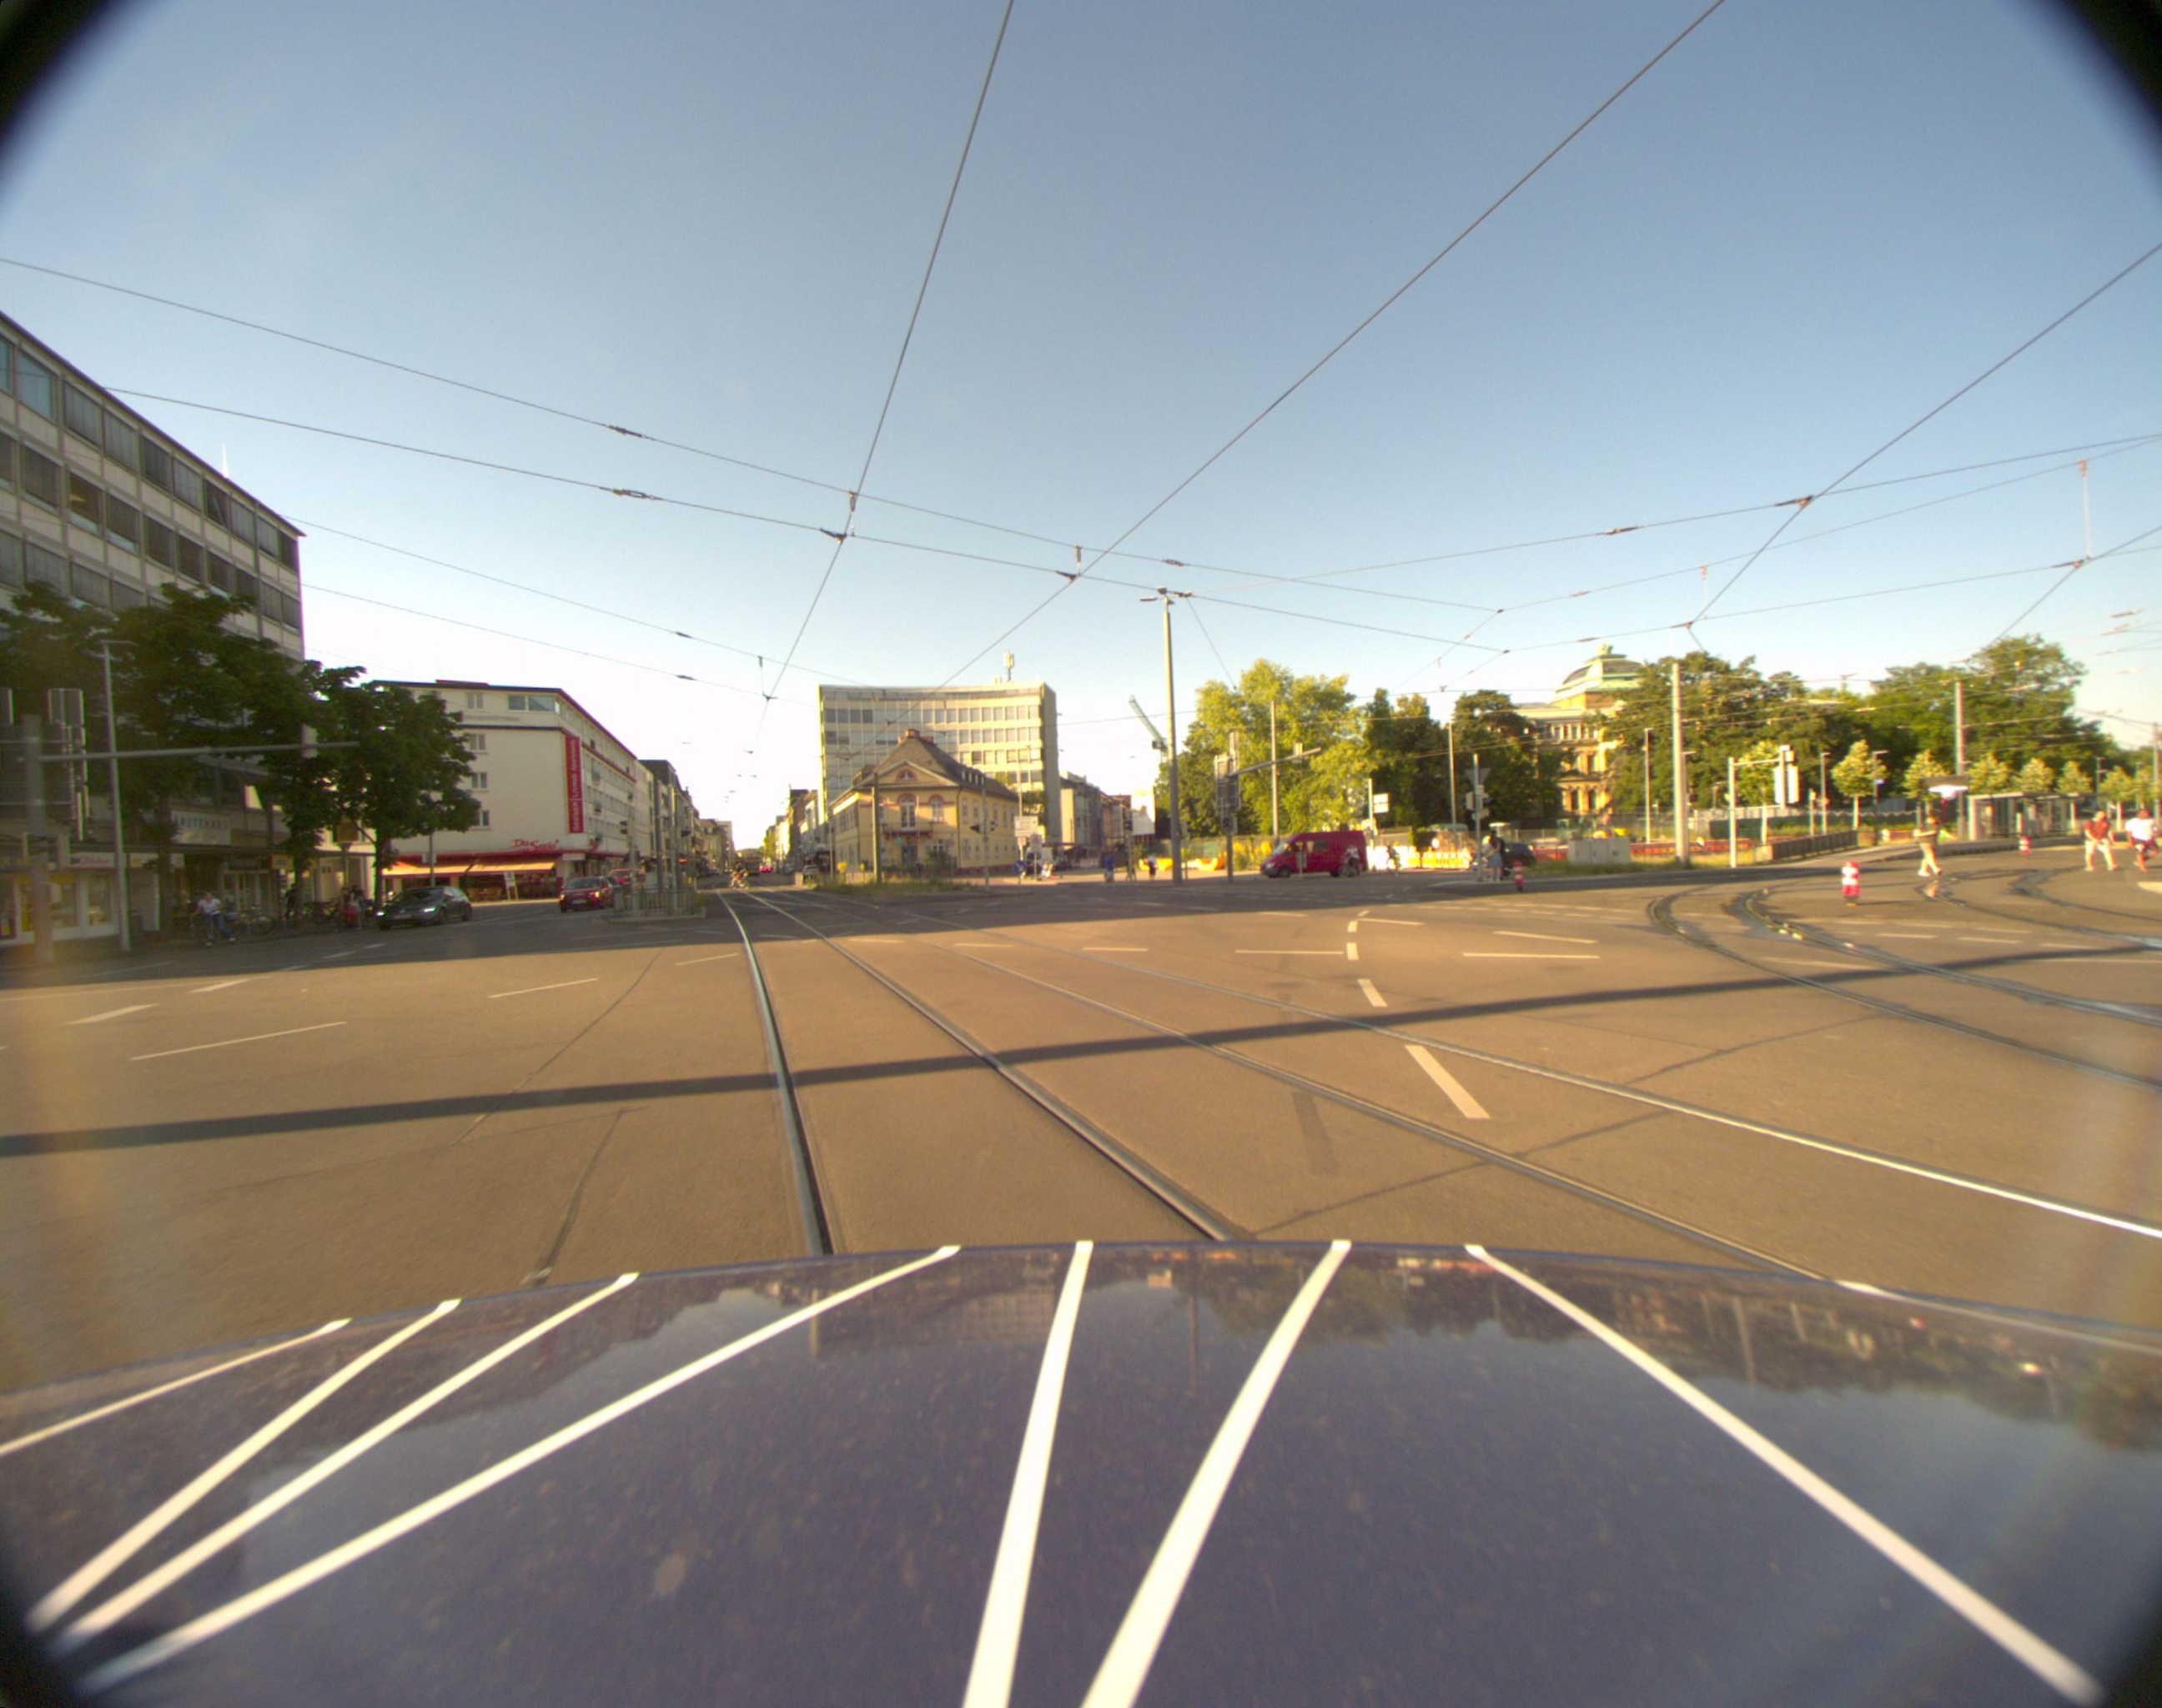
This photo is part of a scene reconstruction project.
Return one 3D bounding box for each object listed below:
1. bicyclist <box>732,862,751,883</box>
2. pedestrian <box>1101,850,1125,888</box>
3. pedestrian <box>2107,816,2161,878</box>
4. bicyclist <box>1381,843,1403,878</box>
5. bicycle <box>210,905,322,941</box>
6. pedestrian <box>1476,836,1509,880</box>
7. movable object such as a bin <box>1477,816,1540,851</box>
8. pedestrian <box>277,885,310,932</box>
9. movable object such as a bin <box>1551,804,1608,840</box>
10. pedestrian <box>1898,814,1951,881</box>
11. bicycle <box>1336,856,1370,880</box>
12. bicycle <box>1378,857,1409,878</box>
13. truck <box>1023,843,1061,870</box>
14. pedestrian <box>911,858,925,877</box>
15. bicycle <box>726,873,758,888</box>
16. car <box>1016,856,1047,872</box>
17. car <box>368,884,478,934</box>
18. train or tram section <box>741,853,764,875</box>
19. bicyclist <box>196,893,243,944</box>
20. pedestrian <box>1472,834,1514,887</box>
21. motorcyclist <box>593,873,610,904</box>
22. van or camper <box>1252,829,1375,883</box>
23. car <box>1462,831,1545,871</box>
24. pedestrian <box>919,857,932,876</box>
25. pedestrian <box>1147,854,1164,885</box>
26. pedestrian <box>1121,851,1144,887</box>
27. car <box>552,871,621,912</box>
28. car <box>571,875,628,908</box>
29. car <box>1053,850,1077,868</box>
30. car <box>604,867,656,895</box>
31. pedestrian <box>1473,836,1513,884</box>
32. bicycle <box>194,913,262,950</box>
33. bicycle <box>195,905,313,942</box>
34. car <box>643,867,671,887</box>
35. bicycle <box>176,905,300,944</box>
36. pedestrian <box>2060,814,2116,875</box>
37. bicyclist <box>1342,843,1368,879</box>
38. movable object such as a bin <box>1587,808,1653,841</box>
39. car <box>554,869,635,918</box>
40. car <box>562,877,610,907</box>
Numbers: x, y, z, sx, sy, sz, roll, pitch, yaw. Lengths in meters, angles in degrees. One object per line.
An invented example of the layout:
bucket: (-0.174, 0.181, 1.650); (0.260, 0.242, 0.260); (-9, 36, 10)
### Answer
bicyclist: (-24.298, 1.324, 54.366); (0.896, 1.448, 0.725); (-3, 0, 10)
pedestrian: (1.581, 0.729, 37.355); (0.696, 1.782, 1.044); (-4, 0, 24)
pedestrian: (27.231, -0.161, 19.511); (0.786, 1.539, 0.621); (-2, -3, 20)
bicyclist: (15.744, 0.318, 38.460); (0.793, 1.735, 0.614); (-3, 0, -33)
bicycle: (-29.147, 2.437, 27.250); (2.645, 1.136, 0.750); (0, -2, -34)
pedestrian: (15.817, 0.172, 29.217); (0.620, 1.630, 0.786); (-3, -1, -30)
movable object such as a bin: (36.582, -1.784, 65.007); (5.019, 2.667, 1.997); (-3, -1, -24)
pedestrian: (-35.339, 2.434, 34.102); (0.715, 2.001, 0.627); (-3, 0, -12)
movable object such as a bin: (50.269, -3.206, 76.586); (5.380, 3.309, 1.997); (-3, -1, -24)
pedestrian: (24.197, -0.171, 21.805); (0.620, 1.853, 0.786); (-3, 0, -25)
bicycle: (13.461, 0.697, 37.597); (1.811, 1.094, 0.542); (-3, -1, -33)
bicycle: (15.870, 0.692, 38.566); (1.696, 0.995, 0.542); (-3, -1, -33)
truck: (-3.972, 0.287, 78.155); (2.297, 2.533, 5.645); (-4, -1, 13)
pedestrian: (-14.320, 1.214, 66.806); (0.684, 1.632, 0.819); (-4, 0, 33)
bicycle: (-24.327, 1.909, 54.480); (1.988, 0.942, 0.725); (-4, -1, 10)
car: (-4.693, 0.908, 72.491); (1.711, 1.356, 4.199); (-4, -1, 14)
car: (-24.109, 1.955, 28.008); (1.846, 1.608, 4.074); (-3, -1, -23)
train or tram section: (-63.319, 1.957, 146.342); (3.719, 3.811, 13.334); (-3, 1, -24)
bicyclist: (-25.250, 1.887, 22.292); (0.672, 1.415, 0.680); (-3, 0, -29)
pedestrian: (14.757, 0.248, 27.226); (0.900, 1.790, 0.787); (-6, 0, -7)
motorcyclist: (-23.450, 1.691, 37.157); (0.535, 1.499, 0.461); (-3, 0, -23)
van or camper: (12.510, 0.117, 40.971); (5.913, 2.514, 1.999); (-3, -1, -7)
car: (24.016, -0.146, 43.197); (4.004, 2.001, 1.997); (-3, -1, -24)
pedestrian: (-13.819, 1.080, 67.546); (0.684, 1.632, 0.819); (-4, 0, 34)
pedestrian: (4.375, 0.909, 44.747); (0.760, 1.751, 1.008); (-3, 0, -1)
pedestrian: (2.525, 0.724, 37.281); (0.696, 1.672, 1.044); (-4, 0, 24)
car: (-21.743, 1.642, 33.574); (1.846, 1.608, 3.993); (-3, -1, -23)
car: (-25.967, 2.026, 40.921); (1.847, 1.608, 3.990); (-3, -1, -42)
car: (-1.840, 0.578, 88.054); (1.711, 1.969, 3.766); (-4, -1, 14)
car: (-32.843, 1.967, 55.501); (1.905, 1.831, 4.622); (-3, -1, -14)
pedestrian: (14.545, 0.217, 26.850); (0.899, 1.630, 0.788); (-3, 0, 5)
bicycle: (-25.408, 2.282, 22.667); (0.672, 0.934, 2.027); (-3, -1, -29)
bicycle: (-28.615, 2.391, 26.360); (2.645, 1.136, 0.750); (0, -2, -34)
car: (-45.965, 2.491, 82.455); (2.002, 2.001, 4.865); (-3, -1, -22)
bicycle: (-28.016, 2.330, 25.323); (2.645, 1.136, 0.750); (0, -2, -34)
pedestrian: (28.610, -0.259, 21.589); (0.620, 1.688, 0.786); (-3, 0, -25)
bicyclist: (13.603, 0.341, 37.720); (1.062, 1.757, 0.542); (-3, 0, -33)
movable object such as a bin: (51.896, -2.877, 73.174); (5.870, 2.799, 1.997); (-3, -1, -18)
car: (-18.157, 1.444, 28.532); (1.846, 1.608, 3.993); (-3, -1, -23)
car: (-29.361, 2.264, 44.993); (1.847, 1.608, 3.990); (-3, -1, -40)
